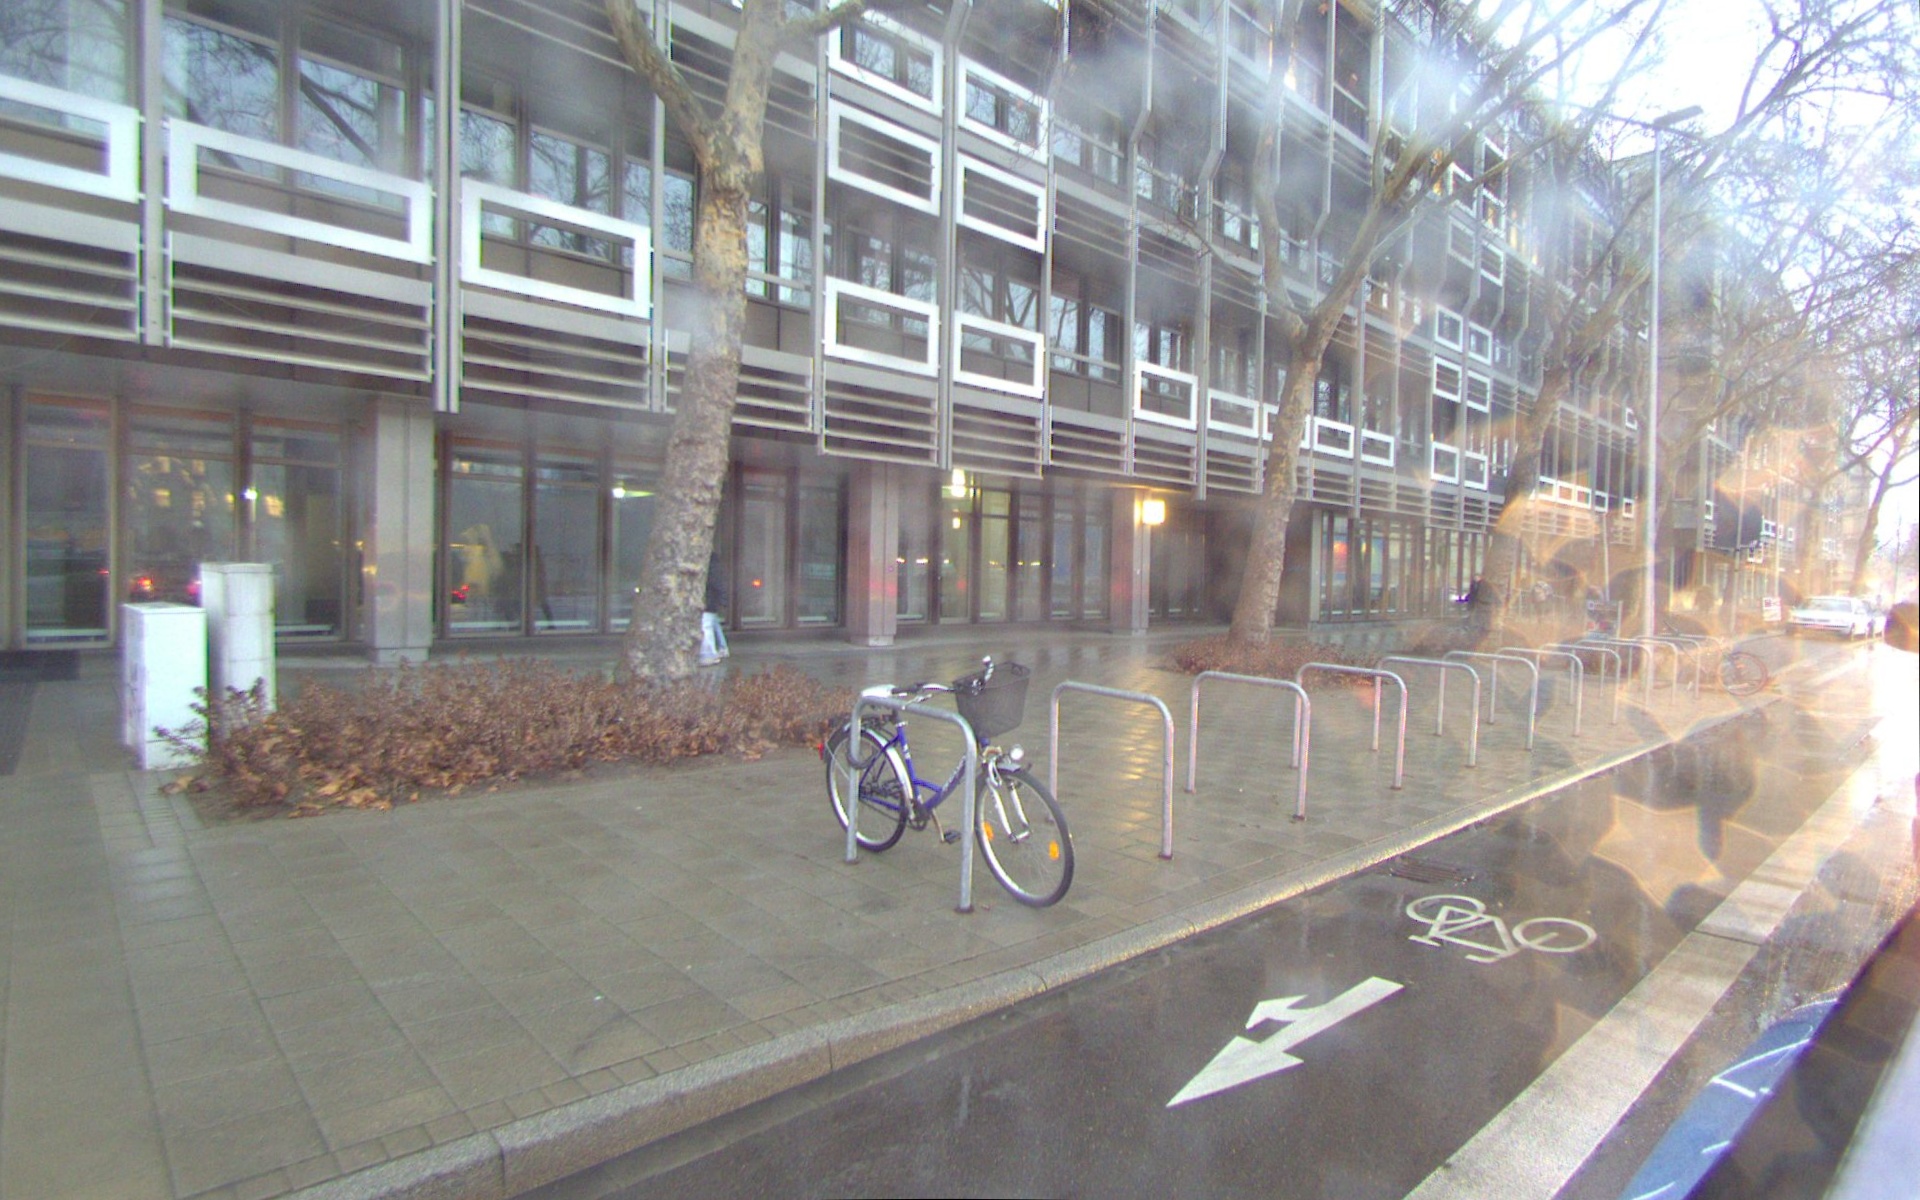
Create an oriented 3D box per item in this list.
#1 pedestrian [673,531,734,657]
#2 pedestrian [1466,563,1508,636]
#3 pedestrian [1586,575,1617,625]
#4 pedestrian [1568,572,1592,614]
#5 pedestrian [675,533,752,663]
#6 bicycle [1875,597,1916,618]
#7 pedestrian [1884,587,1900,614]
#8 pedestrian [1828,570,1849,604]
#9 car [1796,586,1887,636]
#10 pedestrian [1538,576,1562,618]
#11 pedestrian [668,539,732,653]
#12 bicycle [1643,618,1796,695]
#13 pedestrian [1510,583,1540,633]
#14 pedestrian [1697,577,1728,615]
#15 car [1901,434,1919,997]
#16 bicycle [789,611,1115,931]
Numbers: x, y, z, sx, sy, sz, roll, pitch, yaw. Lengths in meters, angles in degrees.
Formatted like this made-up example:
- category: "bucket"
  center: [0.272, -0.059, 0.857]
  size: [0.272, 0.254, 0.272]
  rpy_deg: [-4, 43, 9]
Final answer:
- category: "pedestrian"
  center: [-3.533, -0.094, 13.940]
  size: [0.701, 1.689, 0.379]
  rpy_deg: [0, 1, -41]
- category: "pedestrian"
  center: [14.966, -0.034, 28.719]
  size: [0.723, 2.039, 0.821]
  rpy_deg: [0, 1, -43]
- category: "pedestrian"
  center: [20.229, -0.004, 31.901]
  size: [0.604, 1.563, 0.649]
  rpy_deg: [0, 1, -40]
- category: "pedestrian"
  center: [25.103, -0.280, 40.966]
  size: [0.640, 1.675, 0.829]
  rpy_deg: [2, 2, 44]
- category: "pedestrian"
  center: [-3.294, -0.036, 13.524]
  size: [0.858, 1.689, 0.501]
  rpy_deg: [0, 2, -41]
- category: "bicycle"
  center: [47.001, 0.359, 50.872]
  size: [1.518, 1.049, 0.462]
  rpy_deg: [0, 1, 42]
- category: "pedestrian"
  center: [71.634, 0.045, 77.817]
  size: [0.758, 2.039, 0.837]
  rpy_deg: [-1, 0, -42]
- category: "pedestrian"
  center: [51.983, -0.771, 59.897]
  size: [1.007, 2.039, 0.790]
  rpy_deg: [0, 1, -41]
- category: "car"
  center: [29.423, 0.330, 33.753]
  size: [3.859, 1.449, 1.609]
  rpy_deg: [0, 4, -39]
- category: "pedestrian"
  center: [19.686, -0.098, 33.774]
  size: [0.492, 1.386, 0.494]
  rpy_deg: [1, 1, -3]
- category: "pedestrian"
  center: [-3.711, -0.060, 14.462]
  size: [0.733, 1.583, 0.484]
  rpy_deg: [0, 1, -42]
- category: "bicycle"
  center: [11.649, 0.841, 15.568]
  size: [0.607, 0.986, 1.789]
  rpy_deg: [0, 3, -45]
- category: "pedestrian"
  center: [19.115, 0.266, 34.251]
  size: [0.767, 1.677, 0.617]
  rpy_deg: [0, 1, -41]
- category: "pedestrian"
  center: [31.350, -0.188, 42.153]
  size: [0.824, 1.543, 0.865]
  rpy_deg: [0, 2, -44]
- category: "car"
  center: [5.532, 0.427, 4.268]
  size: [3.930, 2.039, 1.857]
  rpy_deg: [0, 1, -41]
- category: "bicycle"
  center: [-0.117, 0.697, 4.840]
  size: [0.428, 1.162, 1.752]
  rpy_deg: [0, 4, -44]
